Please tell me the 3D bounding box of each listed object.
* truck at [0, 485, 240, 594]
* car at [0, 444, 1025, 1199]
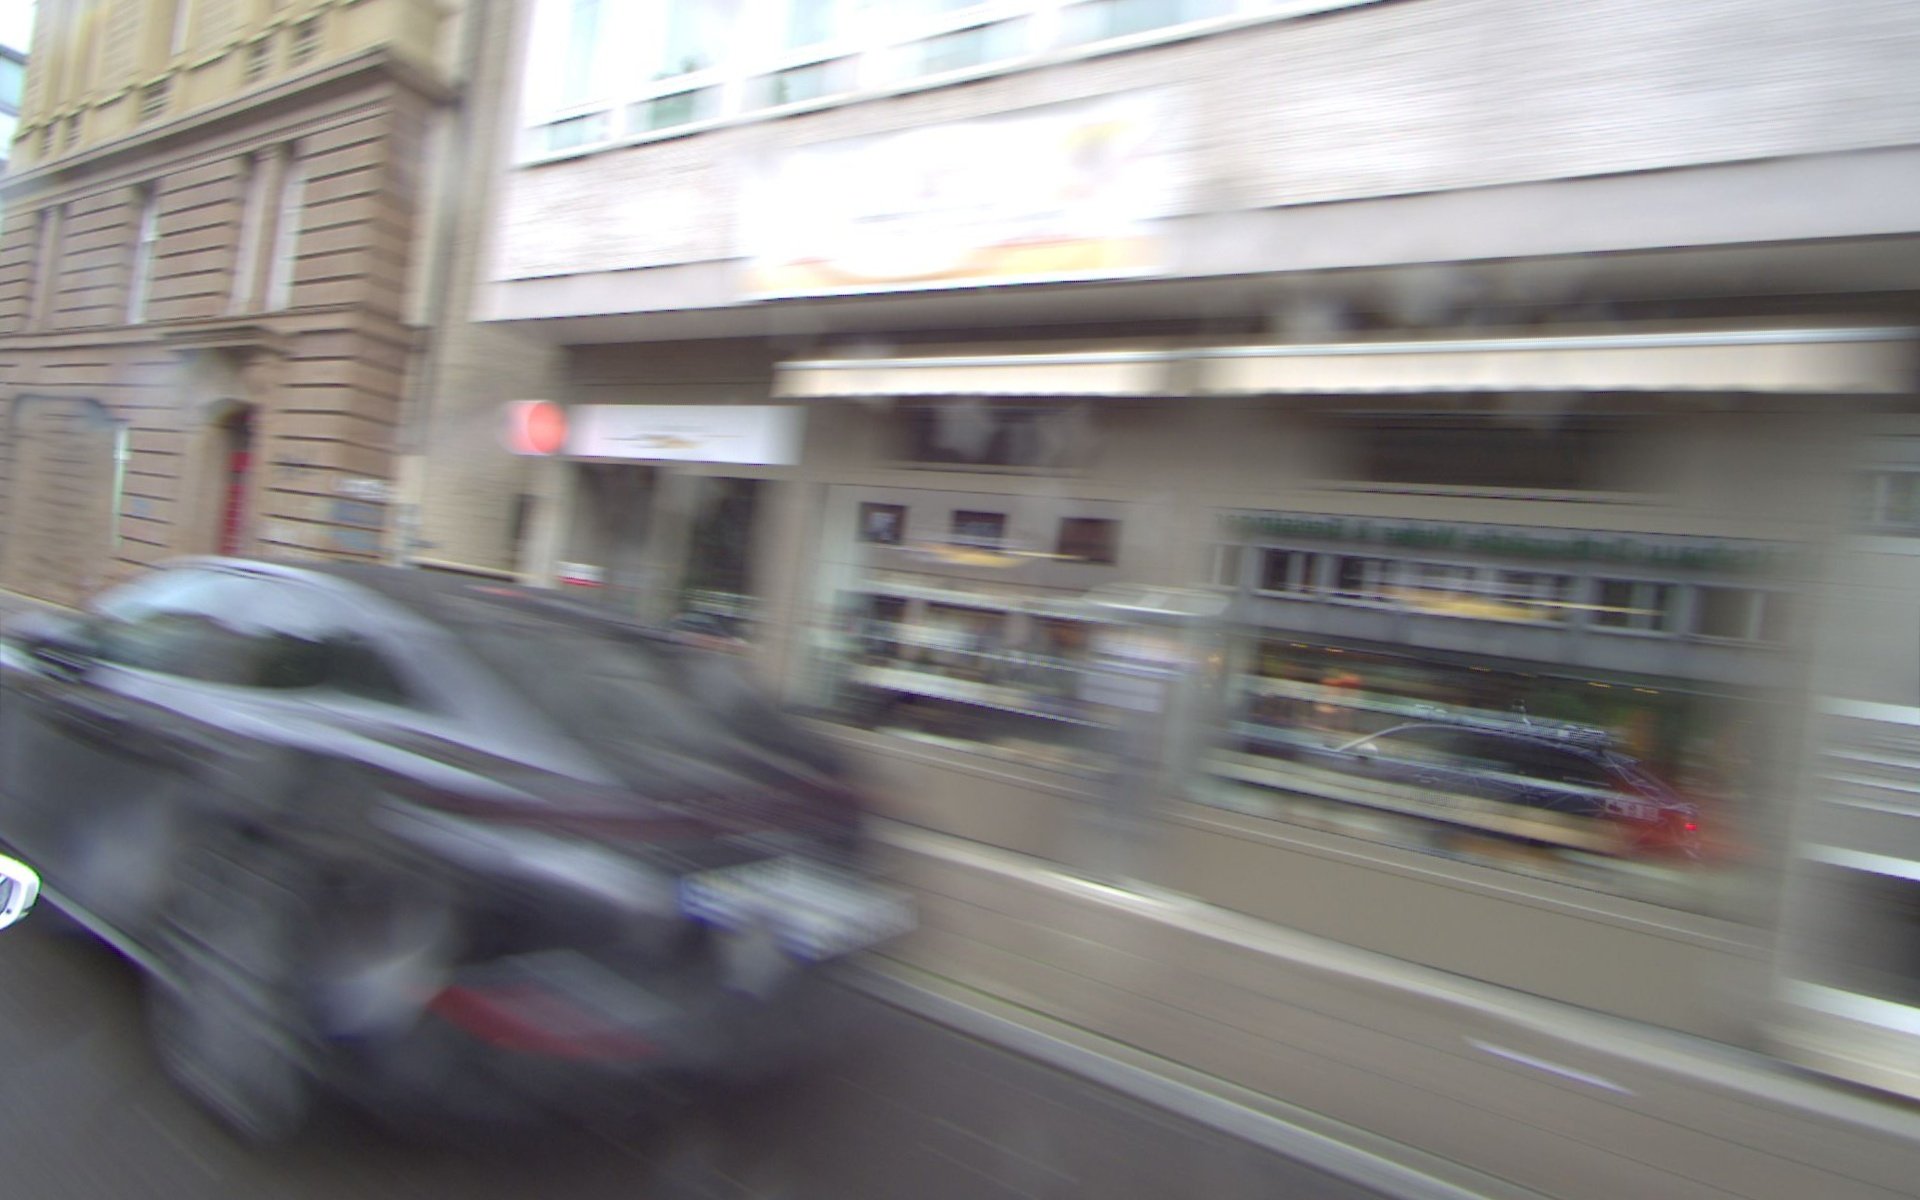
[{"bbox_3d":[-19.810,-1.405,22.874,2.048,1.839,5.071,8,-1,29],"label":"truck"},{"bbox_3d":[-2.261,0.412,3.989,4.497,1.612,1.997,6,-2,32],"label":"car"}]
